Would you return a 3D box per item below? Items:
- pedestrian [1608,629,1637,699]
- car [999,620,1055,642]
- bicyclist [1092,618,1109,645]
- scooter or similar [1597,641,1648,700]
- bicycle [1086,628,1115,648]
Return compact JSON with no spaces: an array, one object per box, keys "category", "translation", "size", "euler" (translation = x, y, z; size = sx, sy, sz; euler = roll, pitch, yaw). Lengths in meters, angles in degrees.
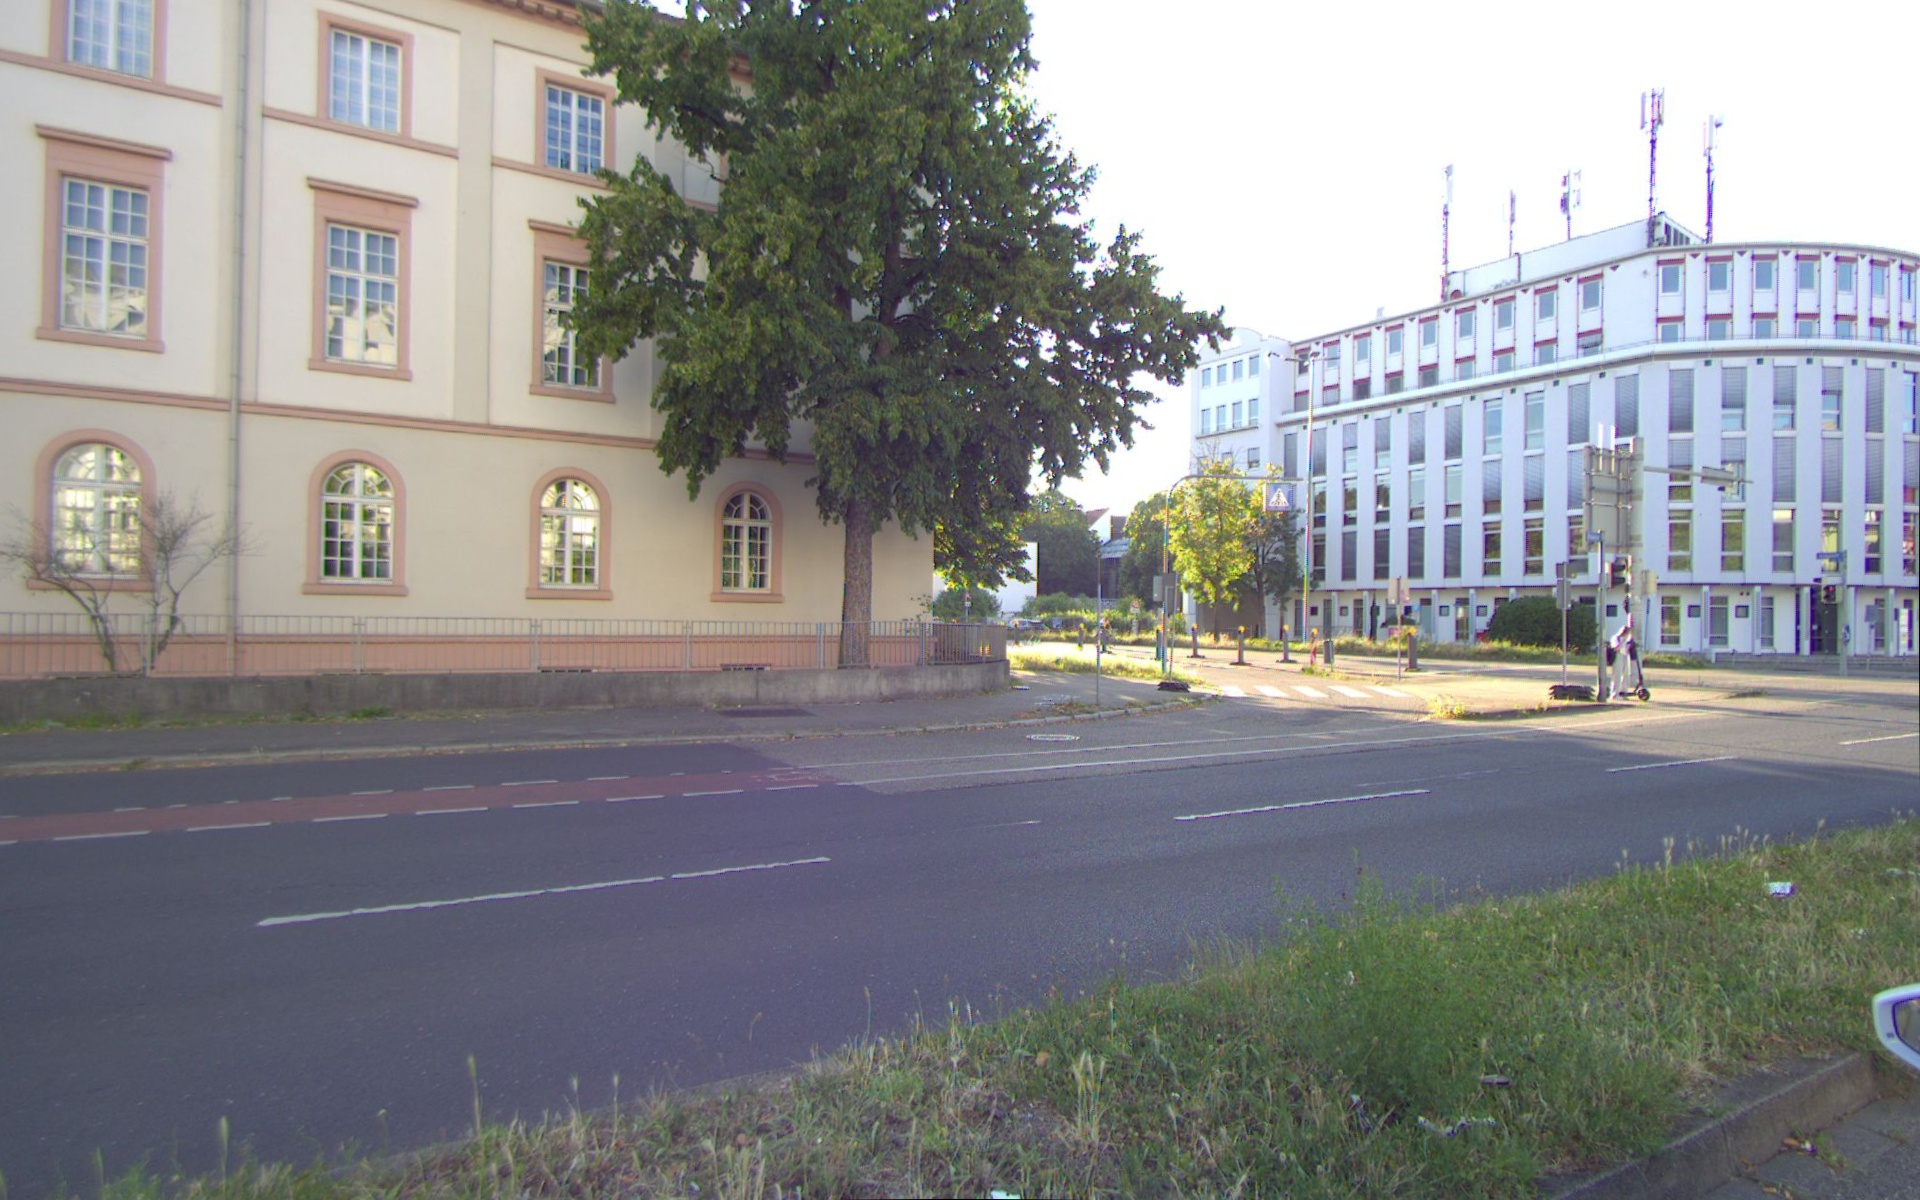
[{"category":"pedestrian","translation":[14.731,1.409,22.331],"size":[0.332,1.525,0.470],"euler":[1,-1,-41]},{"category":"car","translation":[4.849,2.243,73.243],"size":[1.770,1.570,4.310],"euler":[1,-1,-35]},{"category":"bicyclist","translation":[7.757,1.737,55.386],"size":[0.453,1.516,0.879],"euler":[1,-1,-36]},{"category":"scooter or similar","translation":[14.640,1.547,22.196],"size":[0.368,1.250,0.885],"euler":[1,-1,-40]},{"category":"bicycle","translation":[7.735,2.100,55.415],"size":[0.498,1.056,1.786],"euler":[1,-1,-35]}]
